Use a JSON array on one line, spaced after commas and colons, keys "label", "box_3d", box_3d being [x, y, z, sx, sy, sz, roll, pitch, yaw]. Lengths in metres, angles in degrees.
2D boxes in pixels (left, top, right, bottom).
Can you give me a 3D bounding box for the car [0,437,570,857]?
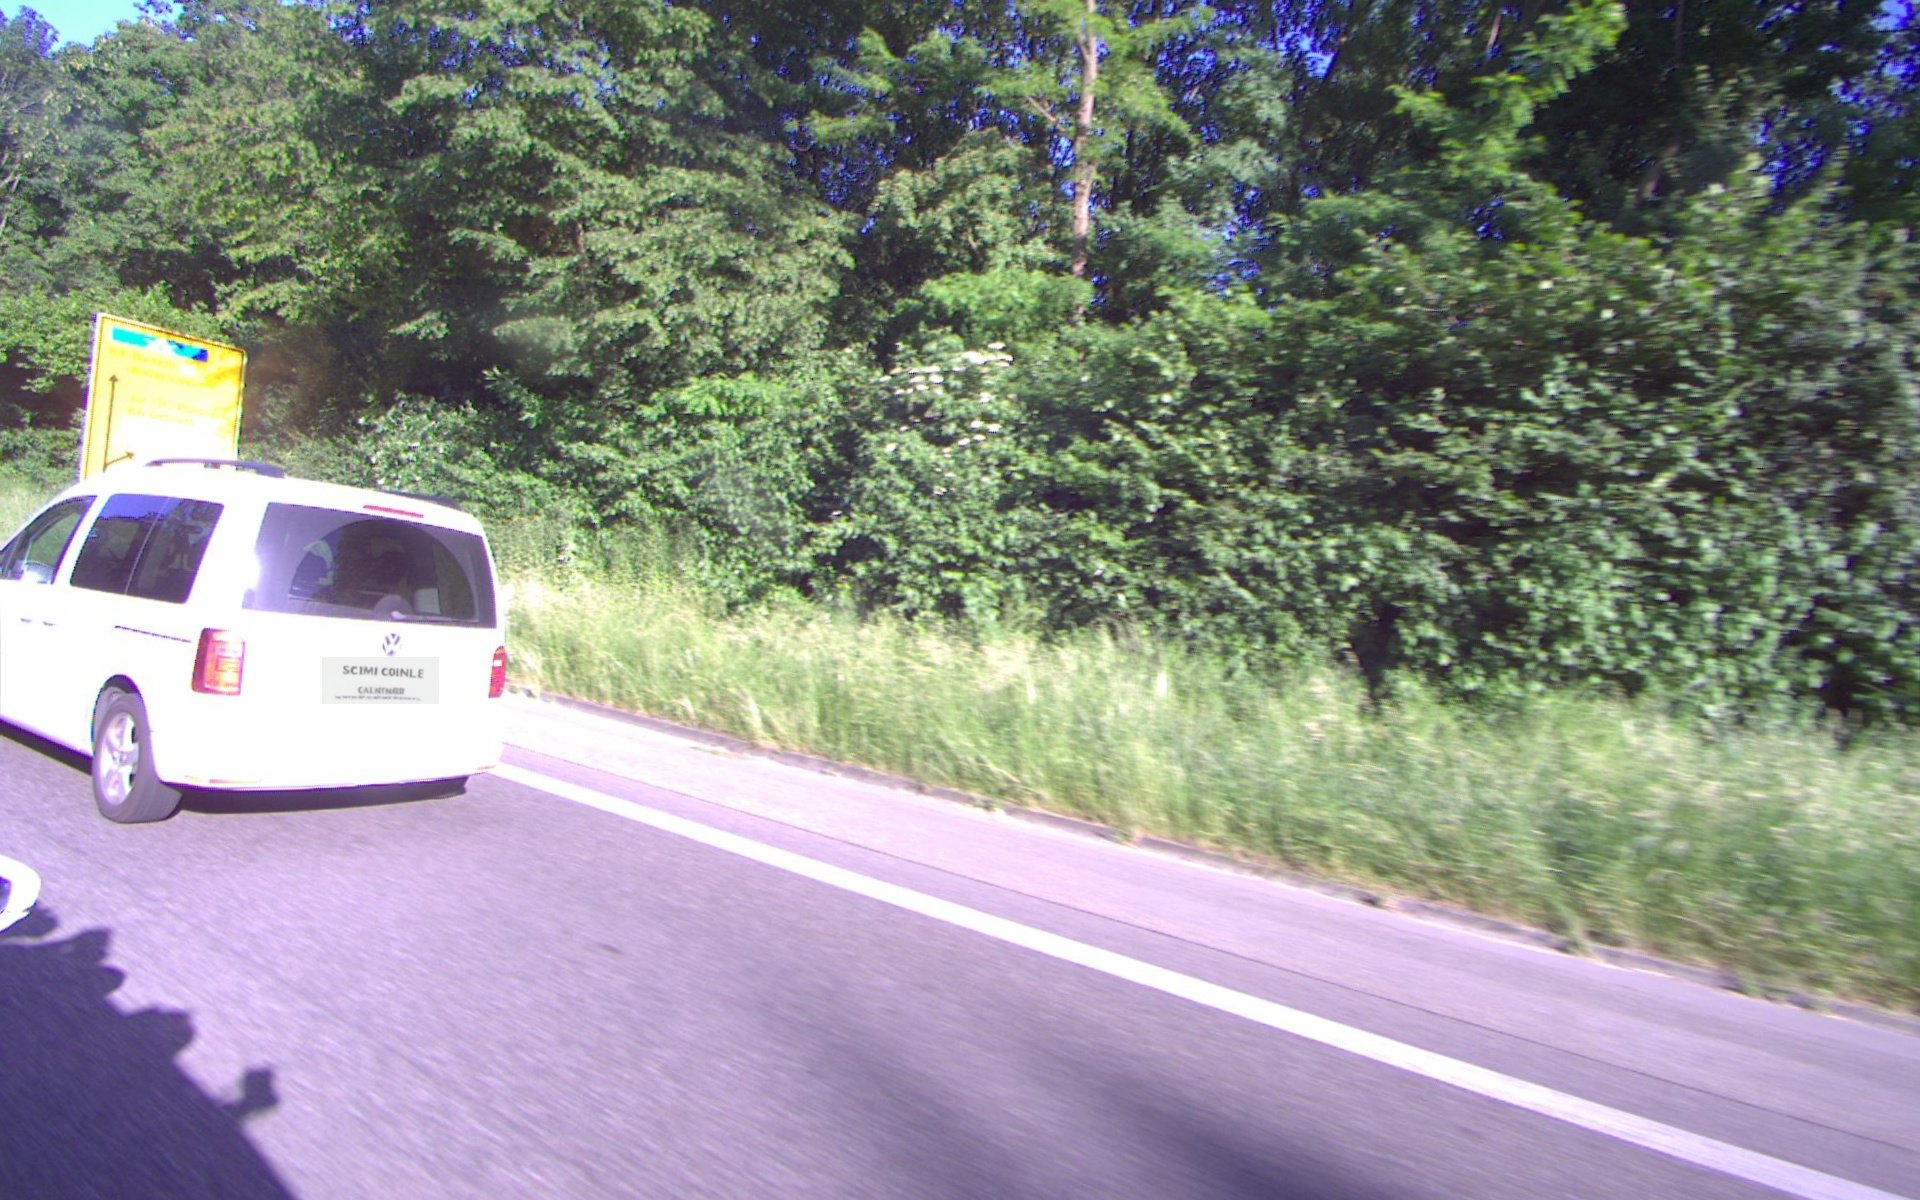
[{"label": "car", "box_3d": [-4.797, 0.098, 6.374, 4.511, 1.834, 1.802, 6, -2, 31]}]
